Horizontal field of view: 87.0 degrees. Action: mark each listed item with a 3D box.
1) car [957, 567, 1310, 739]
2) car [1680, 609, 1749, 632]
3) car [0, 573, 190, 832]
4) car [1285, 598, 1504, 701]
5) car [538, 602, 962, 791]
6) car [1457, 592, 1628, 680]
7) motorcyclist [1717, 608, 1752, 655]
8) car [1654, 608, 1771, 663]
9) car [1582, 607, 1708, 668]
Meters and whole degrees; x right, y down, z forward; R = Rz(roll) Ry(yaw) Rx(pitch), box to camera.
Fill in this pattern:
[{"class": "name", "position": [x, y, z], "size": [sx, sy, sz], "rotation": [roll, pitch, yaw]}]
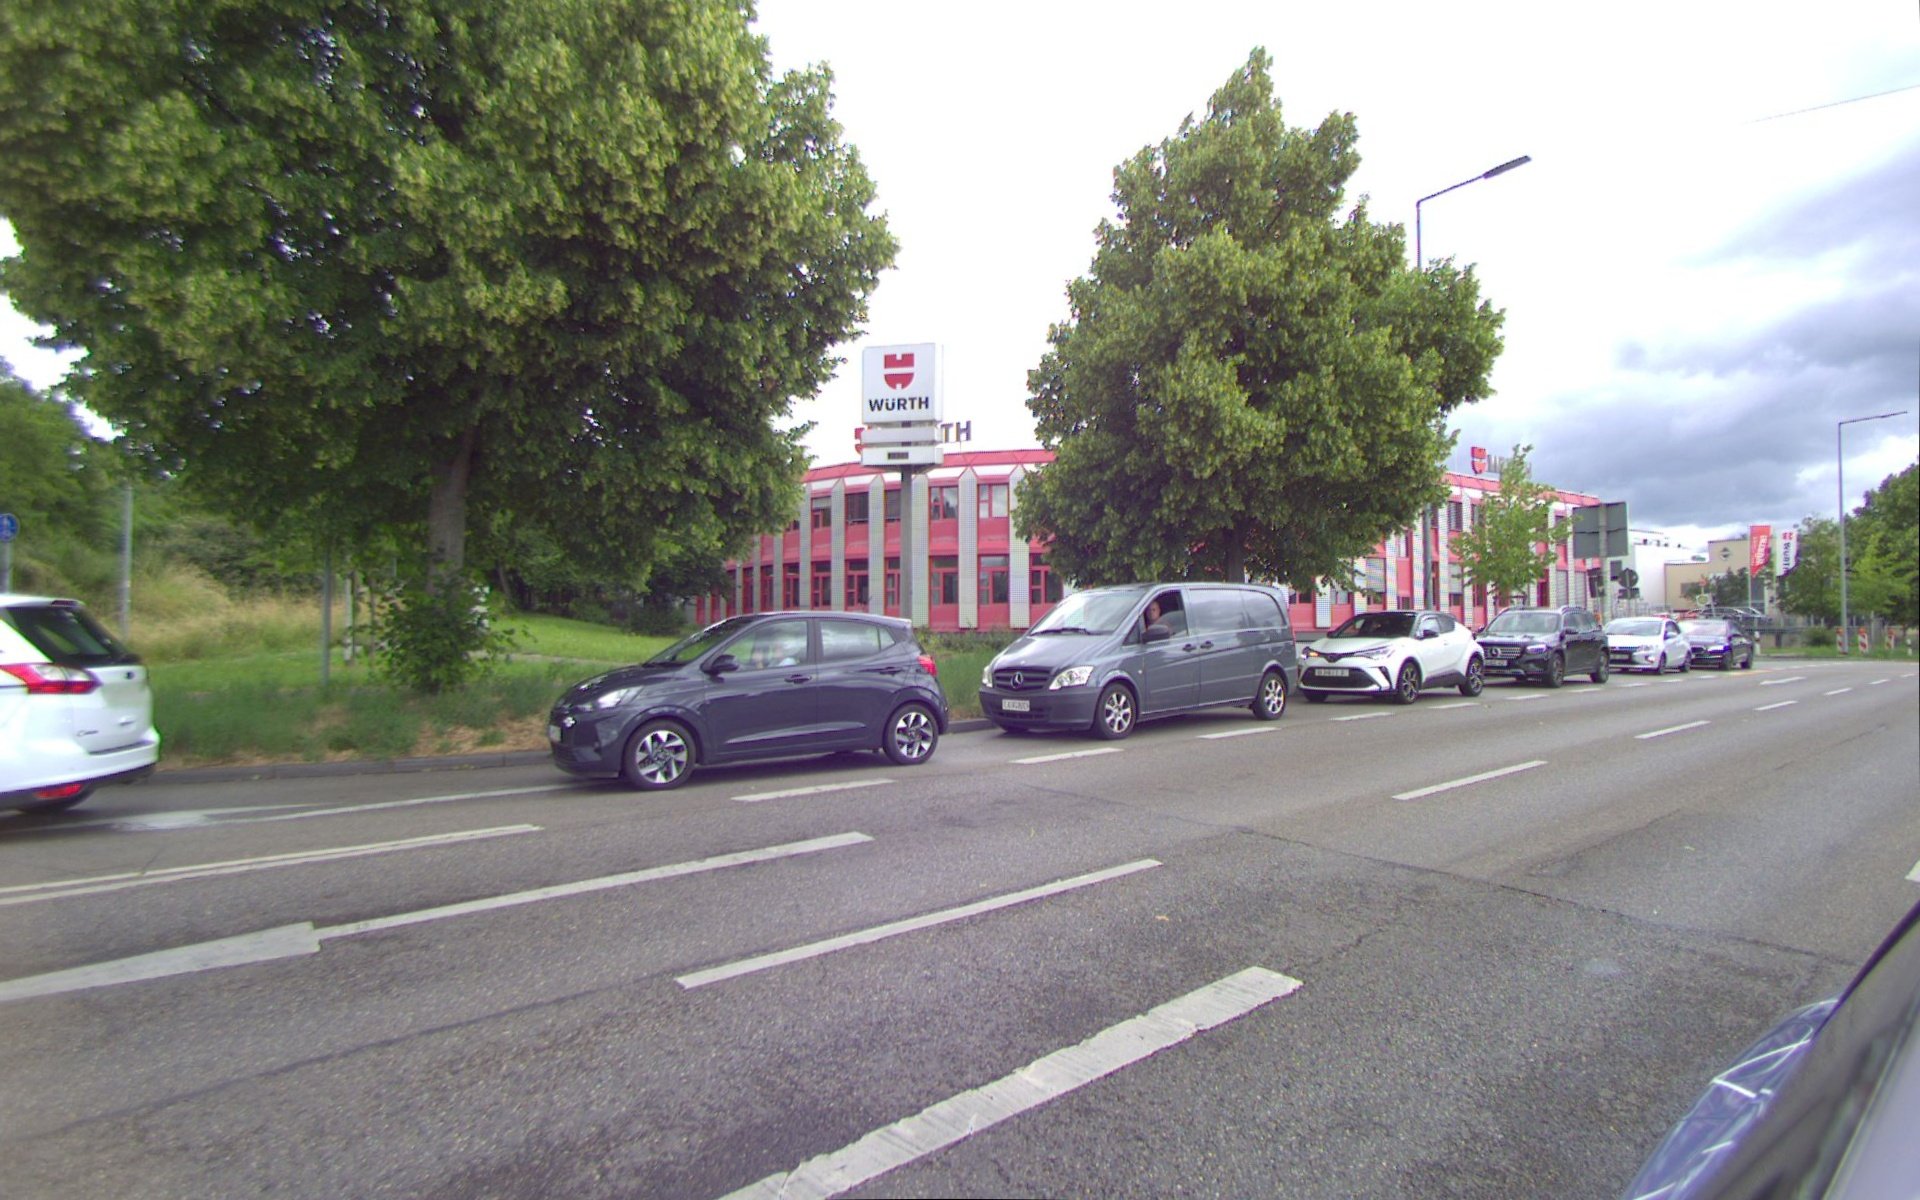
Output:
[{"class": "car", "position": [2.378, 0.619, 13.152], "size": [4.636, 1.858, 1.919], "rotation": [0, -3, -39]}, {"class": "car", "position": [61.804, 1.688, 82.959], "size": [1.752, 1.776, 4.247], "rotation": [0, 0, -39]}, {"class": "car", "position": [-7.972, 0.703, 6.584], "size": [4.365, 1.616, 1.786], "rotation": [-1, -3, -20]}, {"class": "car", "position": [7.550, 0.796, 17.413], "size": [4.230, 1.555, 1.783], "rotation": [0, -3, -41]}, {"class": "car", "position": [-1.917, 0.784, 9.491], "size": [3.545, 1.449, 1.625], "rotation": [0, -3, -33]}, {"class": "car", "position": [12.476, 0.757, 21.566], "size": [4.346, 1.671, 1.784], "rotation": [3, -1, -40]}, {"class": "motorcyclist", "position": [25.223, 1.030, 32.947], "size": [0.918, 1.510, 0.748], "rotation": [2, -3, -44]}, {"class": "car", "position": [22.212, 1.058, 29.814], "size": [4.446, 1.464, 1.784], "rotation": [3, -1, -40]}, {"class": "car", "position": [18.184, 0.995, 26.815], "size": [3.766, 1.461, 1.784], "rotation": [3, -1, -40]}]
